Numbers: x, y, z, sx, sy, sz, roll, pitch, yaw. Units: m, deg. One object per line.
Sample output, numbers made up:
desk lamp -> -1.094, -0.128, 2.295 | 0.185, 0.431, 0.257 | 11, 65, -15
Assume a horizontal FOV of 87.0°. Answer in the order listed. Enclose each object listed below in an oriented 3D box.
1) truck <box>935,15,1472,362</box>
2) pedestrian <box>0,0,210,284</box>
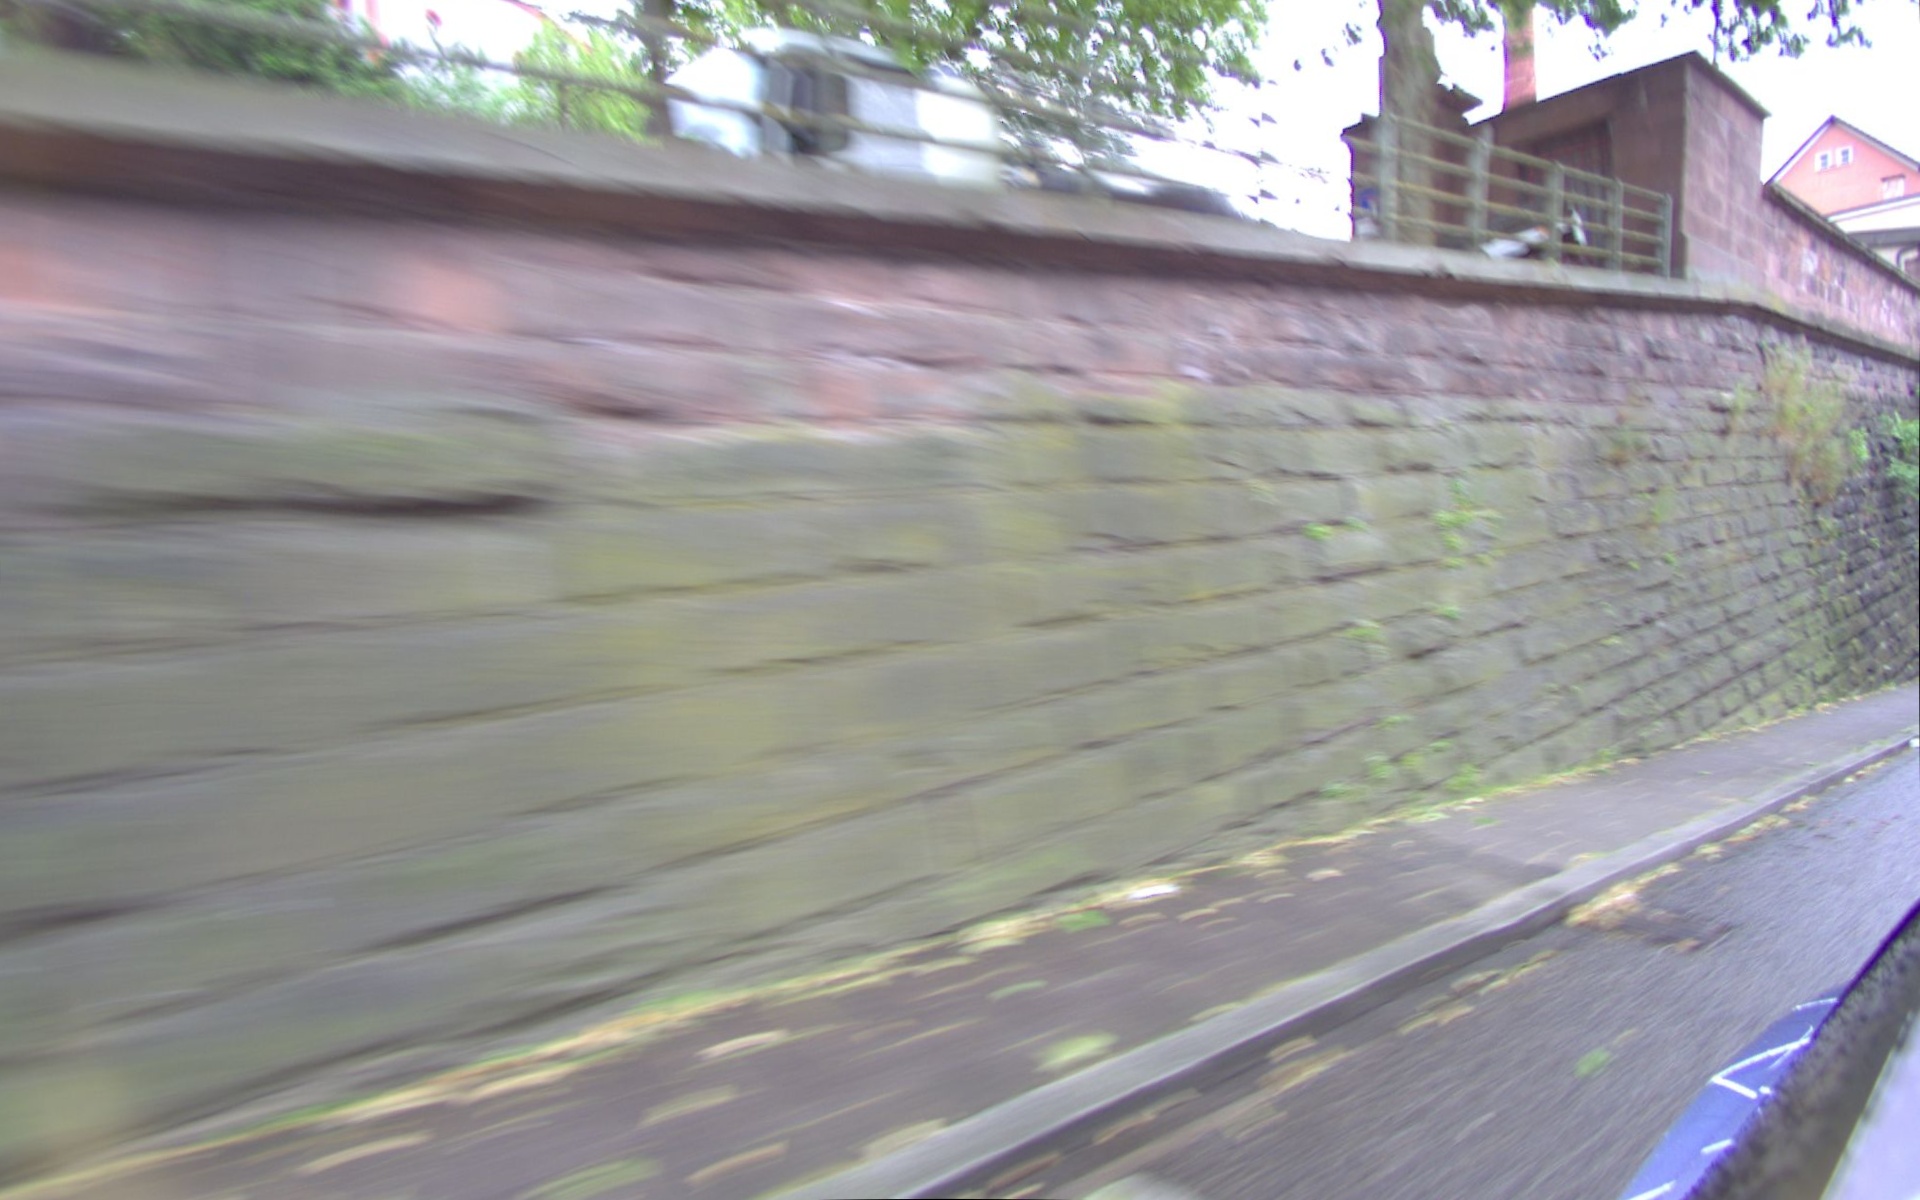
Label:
truck -> 4.634, -5.703, 15.865 | 2.750, 3.342, 11.073 | 5, 14, 45
pedestrian -> -4.133, -2.407, 4.567 | 0.767, 1.697, 0.872 | 1, 4, 12
